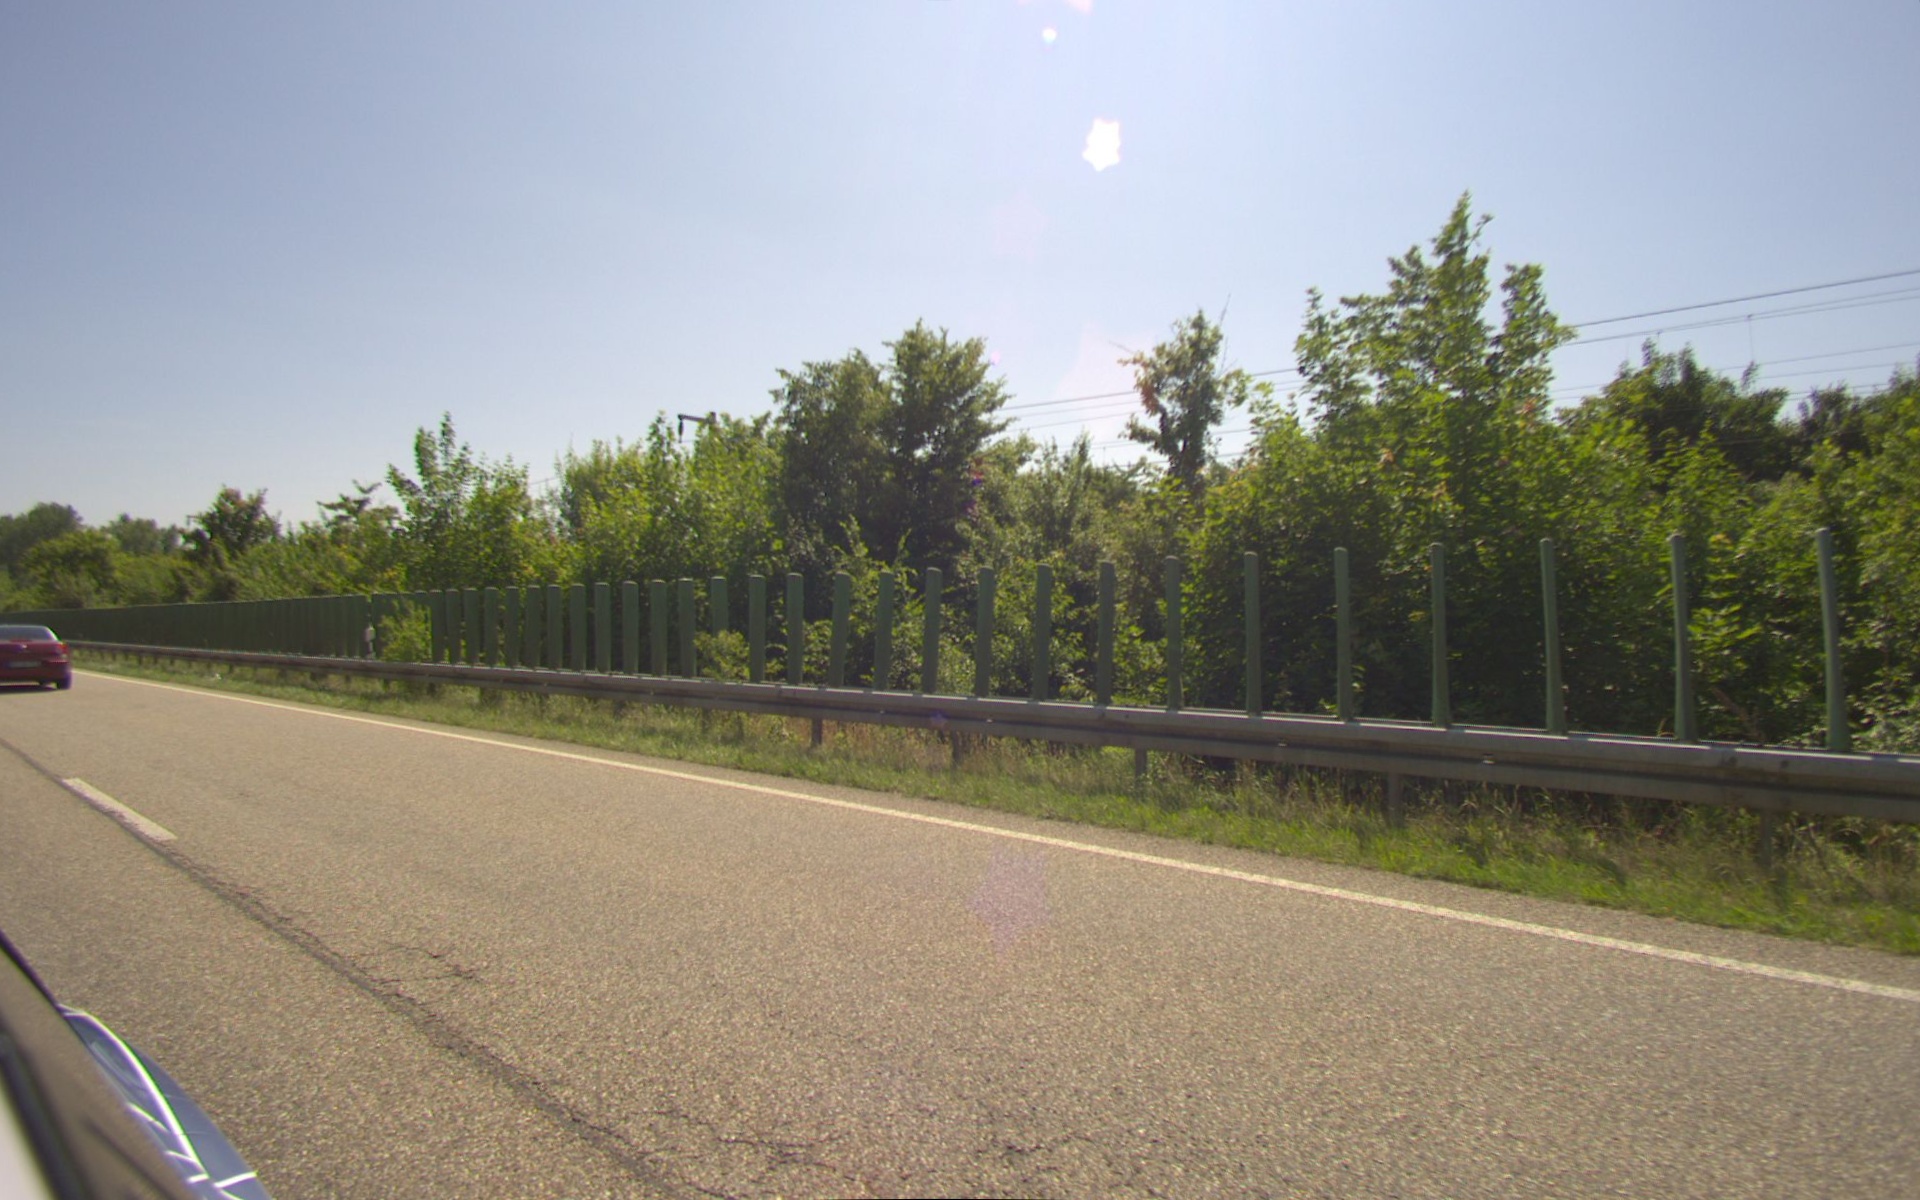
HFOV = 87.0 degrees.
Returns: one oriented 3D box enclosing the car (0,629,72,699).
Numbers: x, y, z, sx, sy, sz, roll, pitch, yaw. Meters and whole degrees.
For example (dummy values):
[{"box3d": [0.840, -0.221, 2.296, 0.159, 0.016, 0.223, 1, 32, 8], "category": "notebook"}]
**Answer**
[{"box3d": [-20.685, 1.340, 21.900, 3.896, 1.382, 1.767, -1, -1, 42], "category": "car"}]
